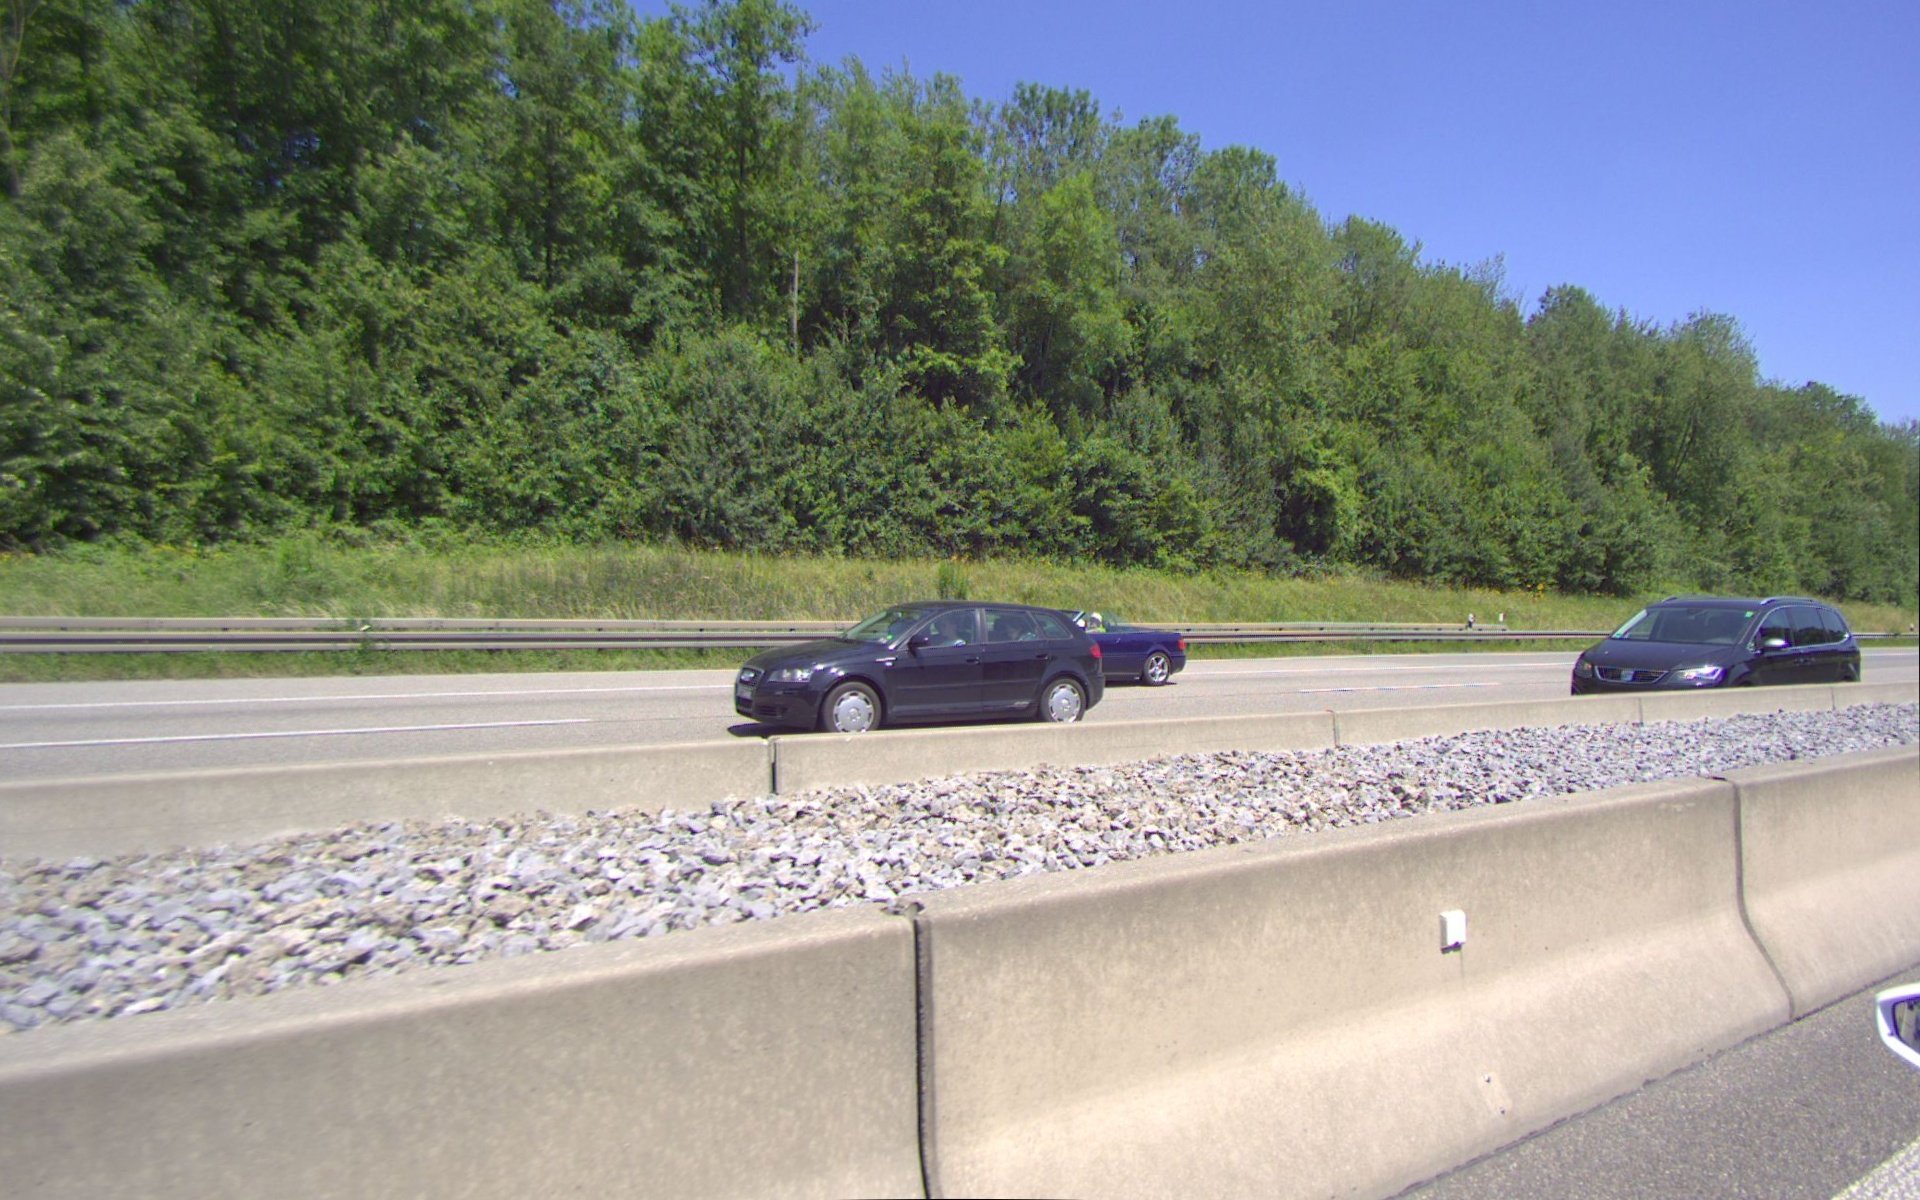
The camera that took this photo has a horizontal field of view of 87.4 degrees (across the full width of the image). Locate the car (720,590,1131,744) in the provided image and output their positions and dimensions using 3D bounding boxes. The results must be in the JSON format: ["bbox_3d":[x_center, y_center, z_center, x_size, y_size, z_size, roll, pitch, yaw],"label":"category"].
[{"bbox_3d":[-0.328,0.643,11.154,4.221,1.421,1.804,1,0,-30],"label":"car"}]

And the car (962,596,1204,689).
[{"bbox_3d":[2.200,0.701,17.764,3.953,1.472,1.831,1,1,-30],"label":"car"}]

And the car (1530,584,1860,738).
[{"bbox_3d":[9.823,0.712,13.370,4.305,1.747,1.984,1,1,-30],"label":"car"}]
